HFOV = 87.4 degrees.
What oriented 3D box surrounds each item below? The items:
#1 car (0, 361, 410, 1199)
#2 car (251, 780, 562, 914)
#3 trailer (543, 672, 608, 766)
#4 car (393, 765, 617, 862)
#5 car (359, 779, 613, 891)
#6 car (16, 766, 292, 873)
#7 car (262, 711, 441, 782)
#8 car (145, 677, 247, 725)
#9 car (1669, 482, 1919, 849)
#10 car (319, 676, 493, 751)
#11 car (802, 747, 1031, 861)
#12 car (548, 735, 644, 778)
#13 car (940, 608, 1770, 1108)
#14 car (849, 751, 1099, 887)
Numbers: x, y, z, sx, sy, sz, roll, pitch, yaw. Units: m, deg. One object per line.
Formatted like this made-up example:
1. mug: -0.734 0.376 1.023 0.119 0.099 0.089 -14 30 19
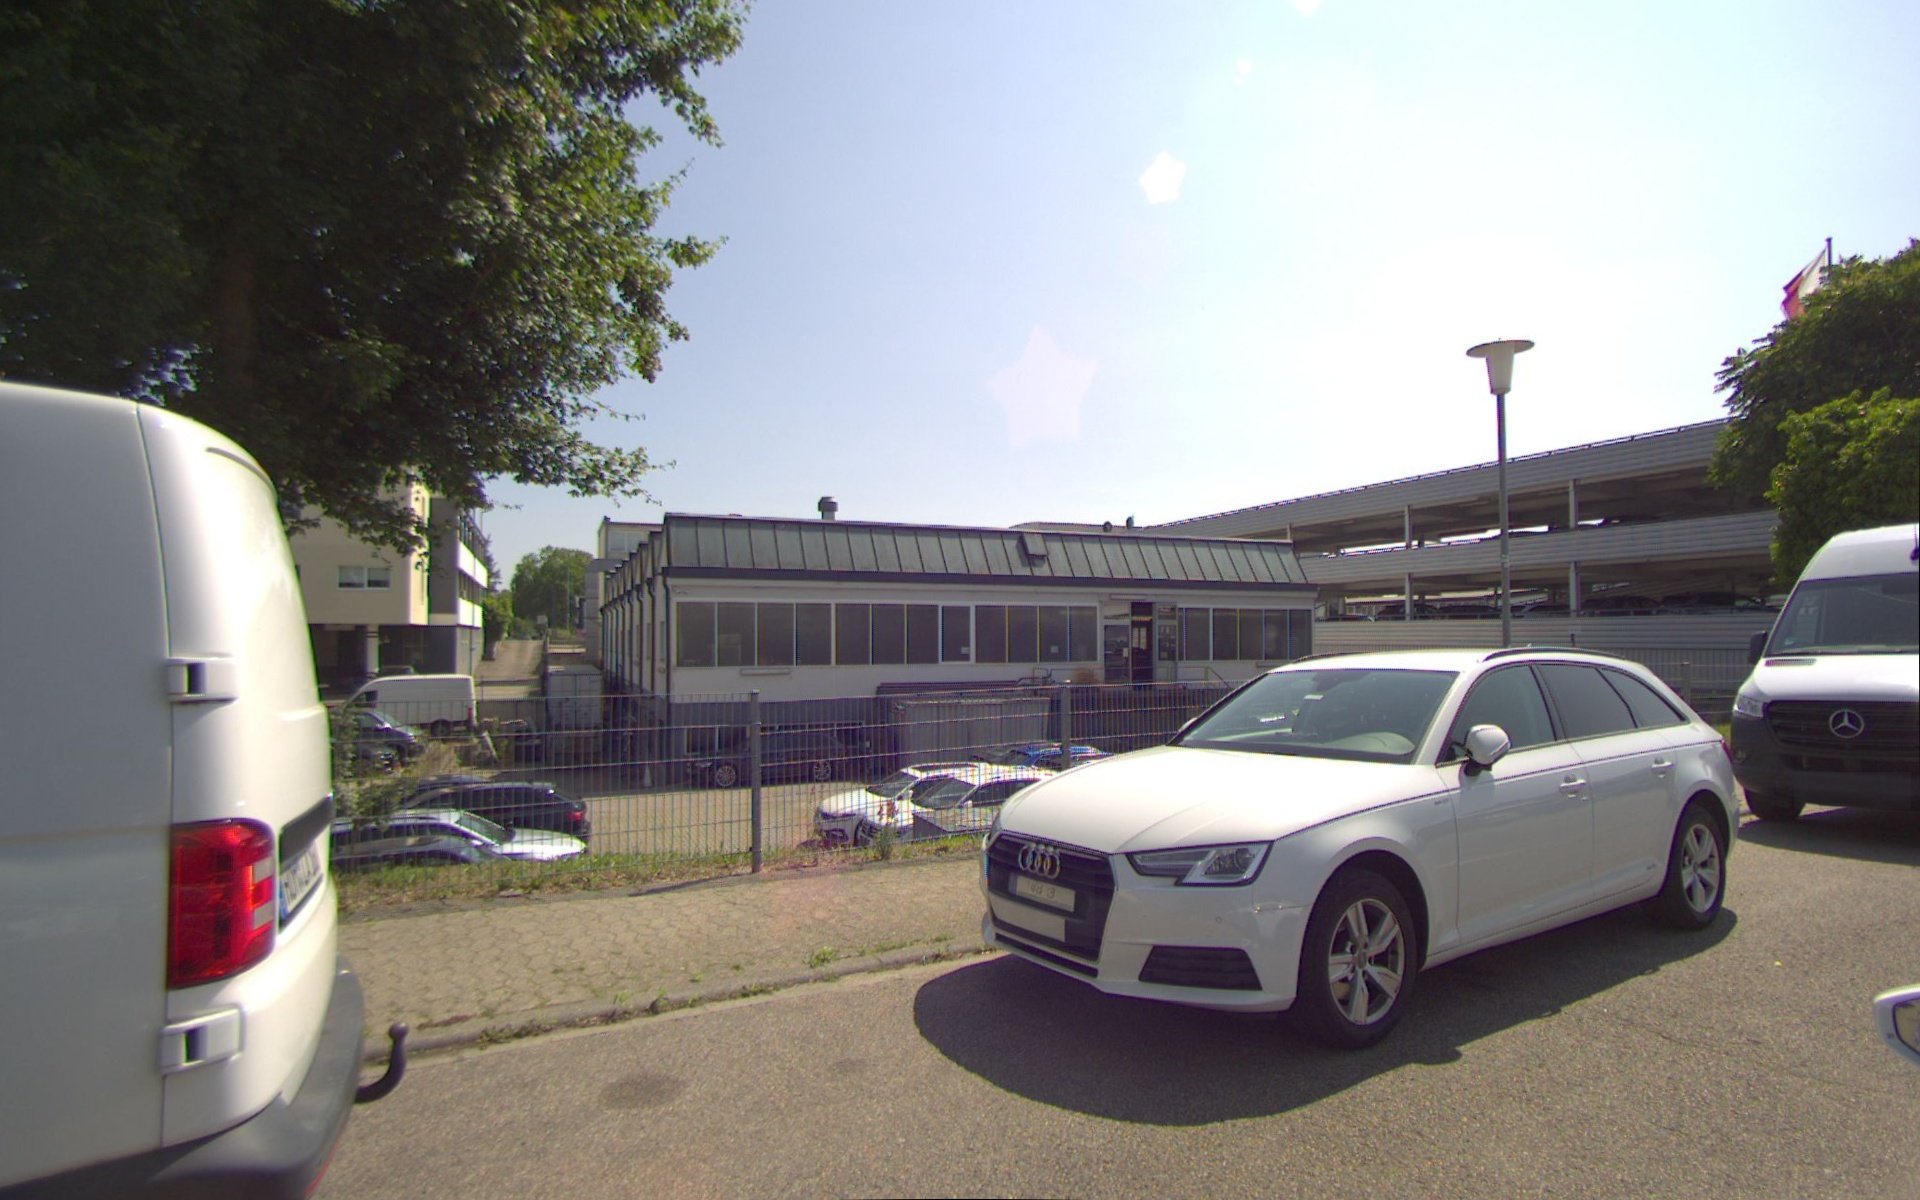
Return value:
1. car: -3.686 0.609 1.431 4.998 2.039 1.962 3 -4 -31
2. car: -8.291 3.710 15.500 3.941 1.461 1.800 2 -2 -22
3. trailer: -19.192 5.738 49.976 2.717 4.047 6.845 1 -2 -23
4. car: -9.084 4.263 20.392 3.941 1.461 1.800 2 -2 -22
5. car: -8.416 4.171 18.205 3.941 1.461 1.800 2 -2 -22
6. car: -16.290 4.402 20.609 3.945 1.705 1.990 1 -7 -24
7. car: -20.373 4.877 33.922 4.854 2.047 1.990 1 -4 -22
8. car: -31.964 4.195 42.185 2.084 1.699 4.581 2 -2 -20
9. car: 9.557 0.635 9.384 6.840 2.629 2.158 3 -4 -31
10. car: -22.686 4.648 41.485 5.847 2.913 2.432 3 -4 -22
11. car: -0.876 4.153 21.035 4.366 1.875 1.910 4 -3 -31
12. car: -14.774 6.346 40.842 3.546 1.537 1.783 3 -4 -22
13. car: 2.186 0.950 5.100 4.354 1.563 1.705 3 -5 -33
14. car: 0.297 3.971 18.825 4.304 1.955 1.852 3 -2 -30
